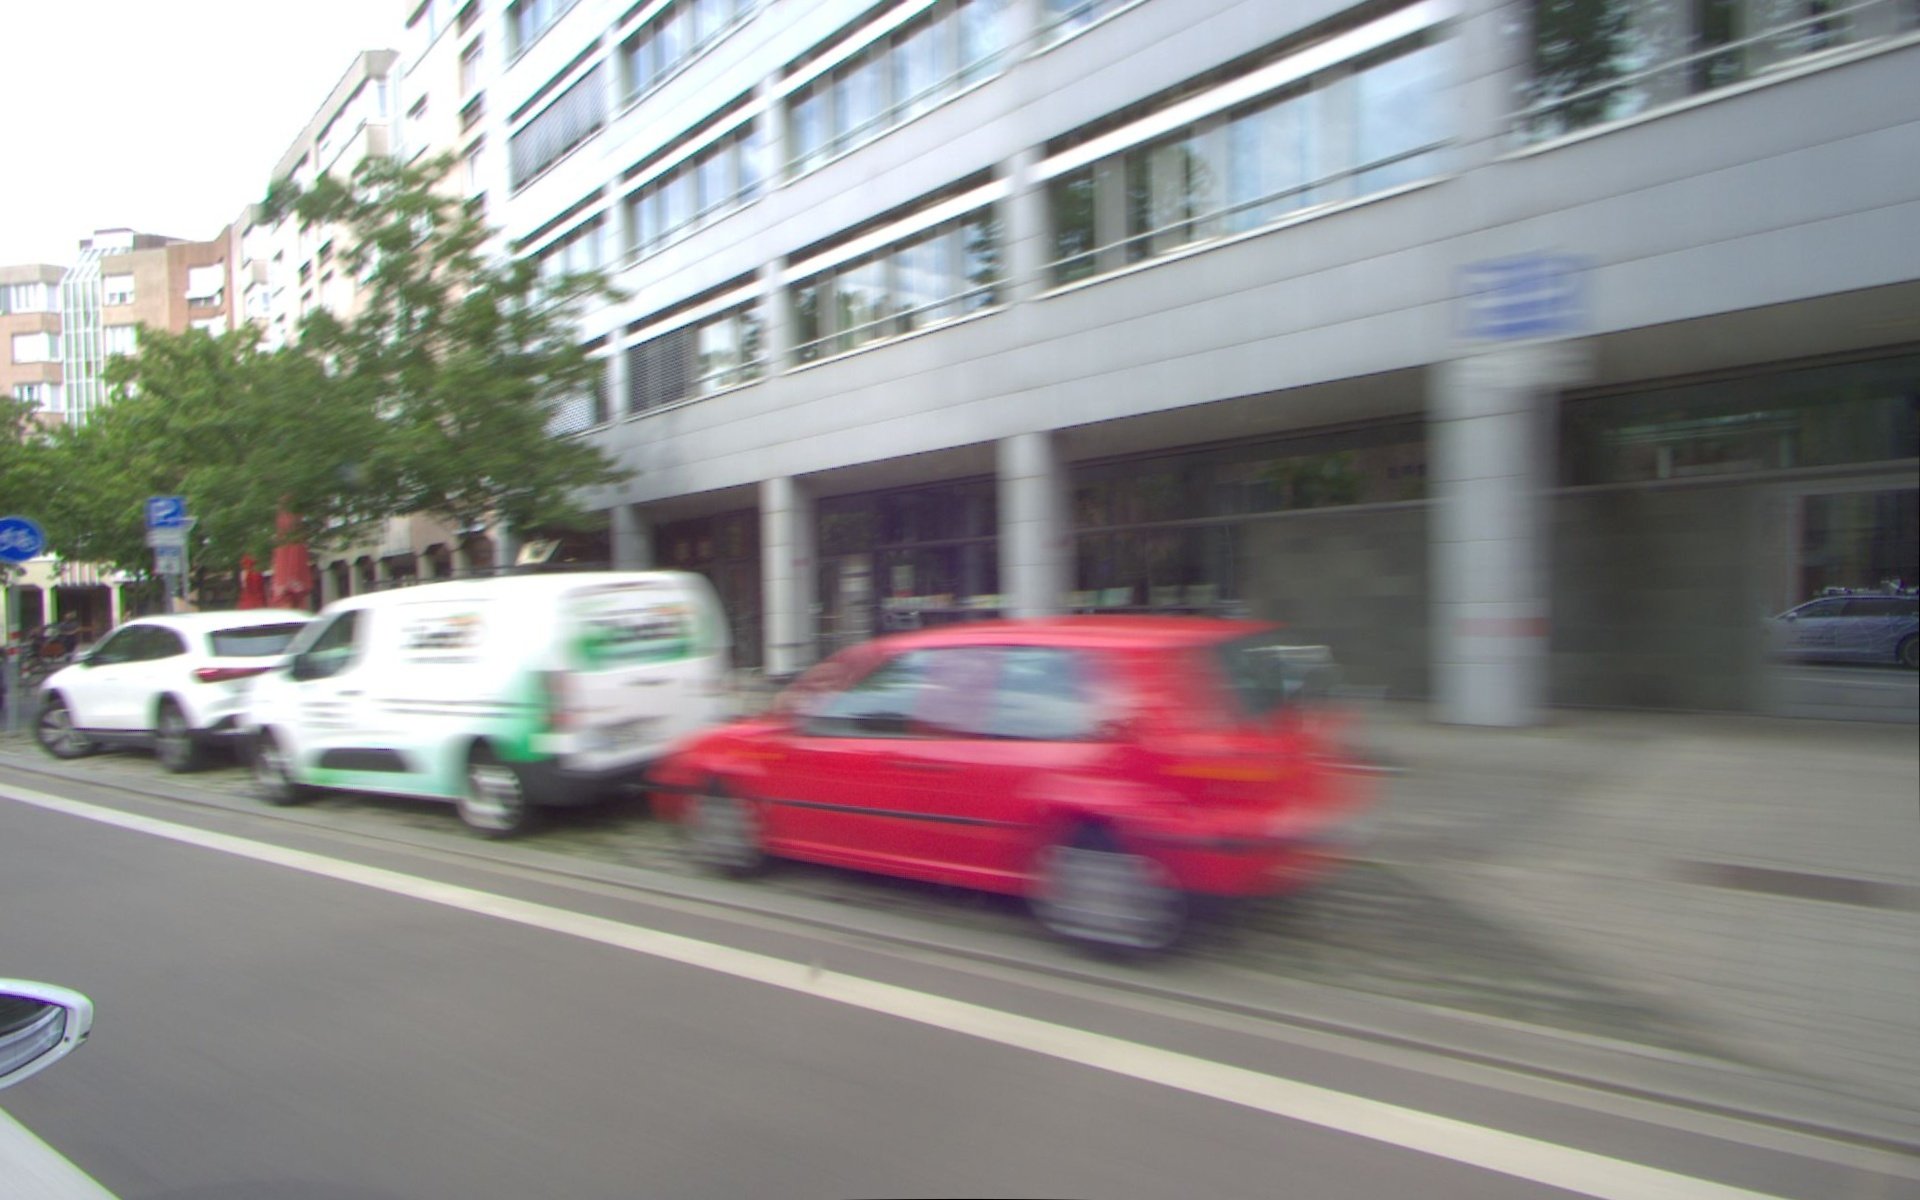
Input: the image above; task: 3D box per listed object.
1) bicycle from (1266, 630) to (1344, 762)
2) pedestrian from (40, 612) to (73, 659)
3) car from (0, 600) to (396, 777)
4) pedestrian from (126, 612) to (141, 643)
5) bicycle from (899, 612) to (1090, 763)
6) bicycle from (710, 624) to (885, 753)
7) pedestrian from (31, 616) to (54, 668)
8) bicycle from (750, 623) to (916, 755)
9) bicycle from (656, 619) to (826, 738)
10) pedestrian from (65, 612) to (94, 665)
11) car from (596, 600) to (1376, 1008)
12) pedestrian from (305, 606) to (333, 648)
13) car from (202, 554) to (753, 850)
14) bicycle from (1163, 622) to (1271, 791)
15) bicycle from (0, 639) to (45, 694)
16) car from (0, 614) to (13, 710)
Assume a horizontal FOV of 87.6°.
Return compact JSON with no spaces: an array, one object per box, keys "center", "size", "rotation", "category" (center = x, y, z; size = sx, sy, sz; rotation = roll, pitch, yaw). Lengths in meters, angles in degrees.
[{"center":[3.096,0.808,8.923],"size":[0.416,1.000,1.556],"rotation":[0,1,28],"category":"bicycle"},{"center":[-30.980,1.201,34.339],"size":[0.755,1.590,0.741],"rotation":[0,1,42],"category":"pedestrian"},{"center":[-8.985,0.897,11.689],"size":[4.511,1.625,1.992],"rotation":[-1,3,28],"category":"car"},{"center":[-44.257,1.468,53.614],"size":[0.530,1.684,0.842],"rotation":[-1,1,-45],"category":"pedestrian"},{"center":[0.435,0.777,9.965],"size":[0.646,1.275,2.626],"rotation":[0,0,32],"category":"bicycle"},{"center":[-1.711,0.903,10.885],"size":[0.474,1.213,2.045],"rotation":[0,1,40],"category":"bicycle"},{"center":[-26.932,1.220,29.397],"size":[0.497,1.499,0.409],"rotation":[0,1,39],"category":"pedestrian"},{"center":[-1.292,0.882,10.564],"size":[0.474,1.213,1.899],"rotation":[0,1,40],"category":"bicycle"},{"center":[-2.486,0.856,11.592],"size":[0.474,1.213,2.045],"rotation":[0,1,40],"category":"bicycle"},{"center":[-26.905,1.168,30.600],"size":[0.508,1.590,0.478],"rotation":[-1,1,-22],"category":"pedestrian"},{"center":[-0.061,0.794,5.698],"size":[4.198,1.452,1.715],"rotation":[-1,3,37],"category":"car"},{"center":[-24.586,1.040,38.402],"size":[0.705,1.576,0.791],"rotation":[-2,1,-44],"category":"pedestrian"},{"center":[-4.103,0.650,8.324],"size":[4.579,1.890,1.823],"rotation":[-1,2,30],"category":"car"},{"center":[2.136,0.791,8.170],"size":[0.485,1.154,1.848],"rotation":[-1,1,26],"category":"bicycle"},{"center":[-19.436,1.344,20.480],"size":[1.839,1.043,0.604],"rotation":[-1,0,33],"category":"bicycle"},{"center":[-16.884,1.091,16.276],"size":[1.760,1.598,4.269],"rotation":[-3,2,-39],"category":"car"}]
